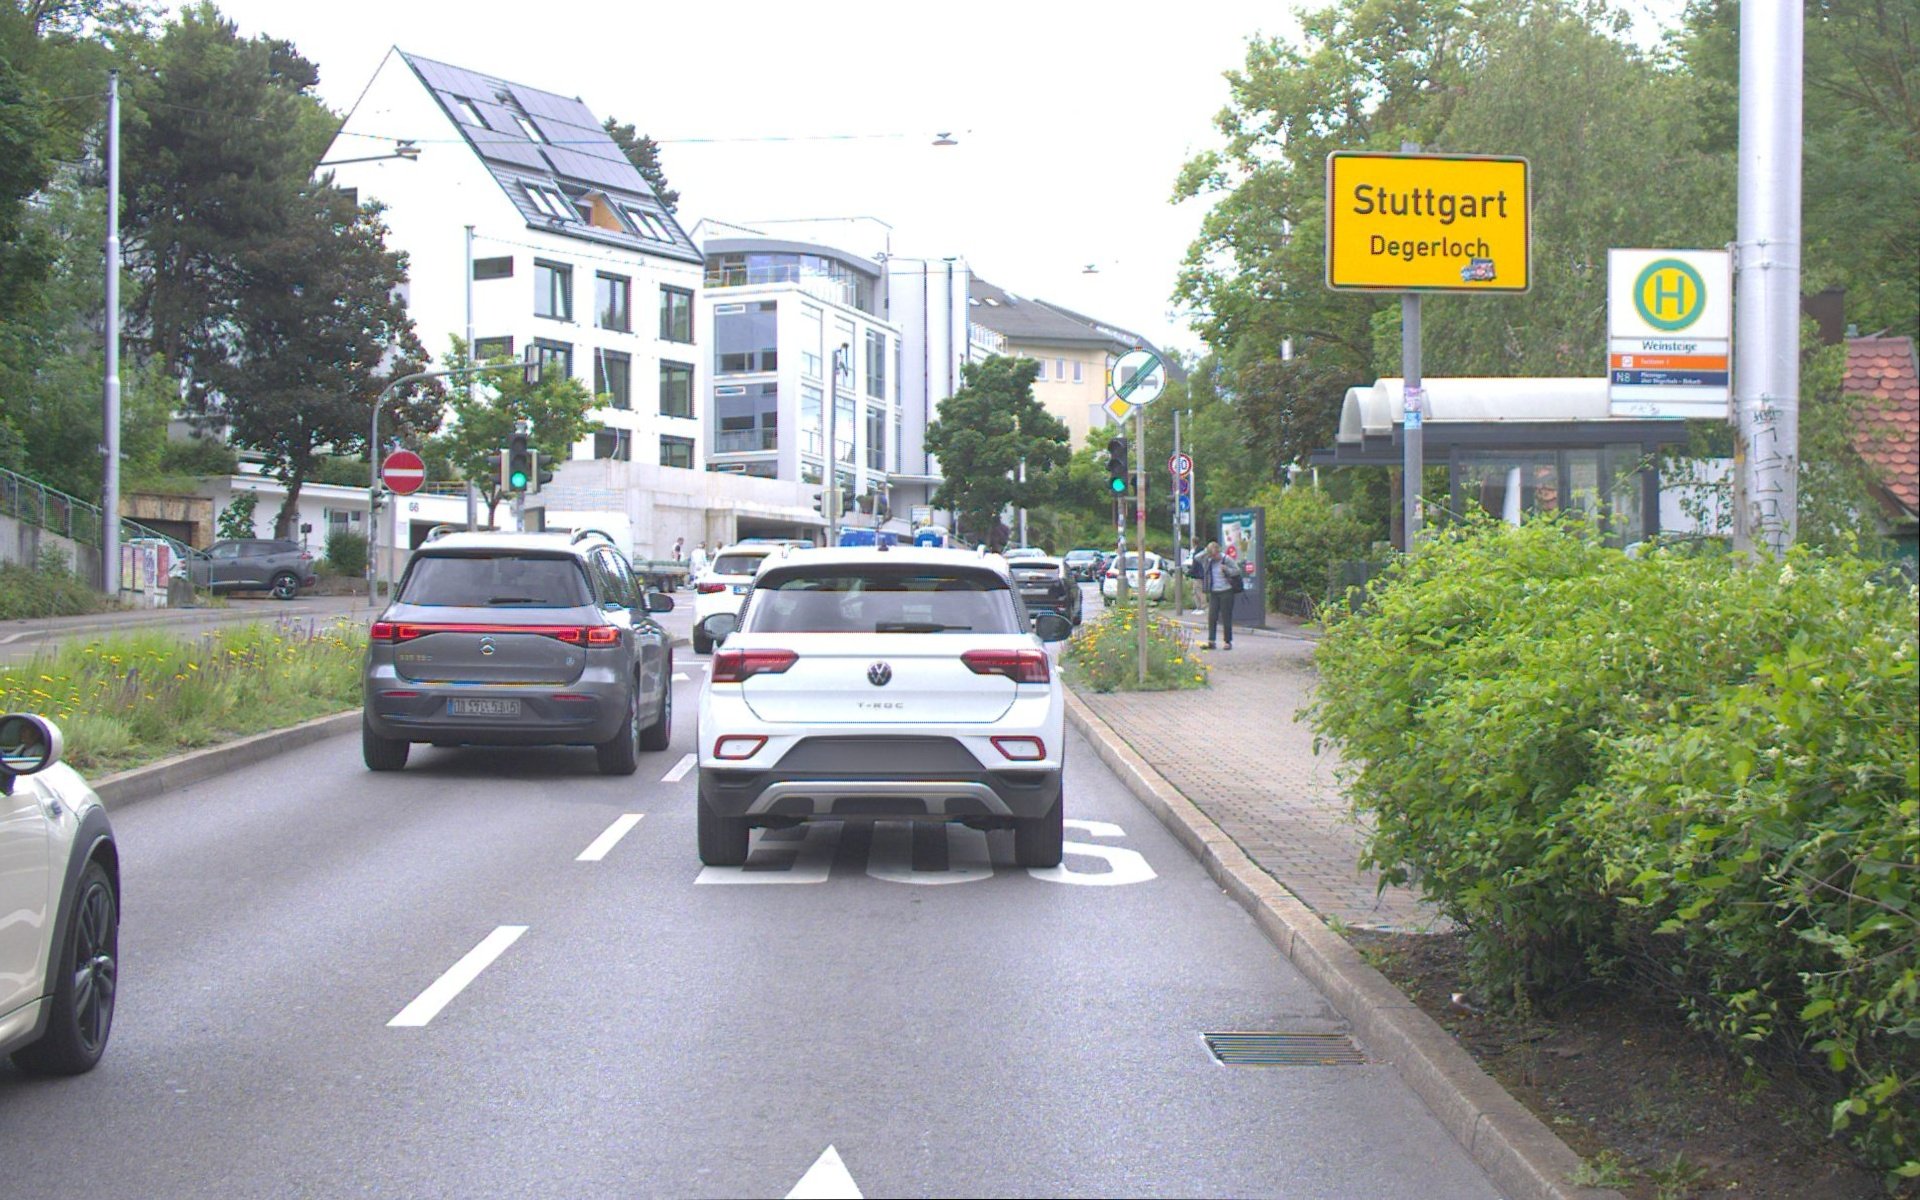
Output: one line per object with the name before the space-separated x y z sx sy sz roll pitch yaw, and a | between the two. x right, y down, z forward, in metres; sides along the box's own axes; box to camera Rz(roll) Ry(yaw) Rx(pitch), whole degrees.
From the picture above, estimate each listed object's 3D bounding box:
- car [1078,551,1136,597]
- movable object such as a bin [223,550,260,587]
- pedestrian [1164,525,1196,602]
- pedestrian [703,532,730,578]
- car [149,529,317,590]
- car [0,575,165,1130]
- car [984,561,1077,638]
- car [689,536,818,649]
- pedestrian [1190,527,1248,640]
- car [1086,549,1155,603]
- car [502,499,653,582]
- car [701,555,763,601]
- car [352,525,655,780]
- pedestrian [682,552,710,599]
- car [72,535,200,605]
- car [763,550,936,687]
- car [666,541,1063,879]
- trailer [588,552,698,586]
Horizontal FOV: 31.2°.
car | 4.940 -0.883 115.213 1.858 1.495 4.055 0 1 3
movable object such as a bin | -19.842 -0.864 94.965 0.640 1.008 0.729 2 1 36
pedestrian | 5.296 -0.876 82.749 0.693 1.827 0.620 2 1 7
pedestrian | -8.812 -1.616 124.384 0.674 1.634 0.672 1 1 -33
car | -18.569 -1.041 87.774 4.118 1.534 1.599 0 1 -14
car | -3.252 0.654 8.459 1.628 1.388 3.566 0 1 2
car | 1.502 -0.033 74.178 1.873 1.496 4.555 3 1 1
car | -3.135 -0.139 52.930 1.858 1.646 4.636 -1 1 -2
pedestrian | 3.914 -0.244 51.945 0.694 1.683 0.619 -1 0 21
car | 4.527 -0.706 97.604 1.858 1.495 4.055 0 1 1
car | -12.253 -1.910 110.660 2.233 2.559 7.417 0 1 15
car | -7.074 -0.700 107.202 1.717 1.388 4.609 0 1 -1
car | -3.185 0.308 24.775 1.812 1.646 4.637 -1 1 -3
pedestrian | -9.332 -0.871 121.508 0.674 1.634 0.672 1 1 -33
car | -19.927 -0.725 83.123 2.701 1.515 1.564 3 0 -24
car | -1.432 0.187 42.826 1.873 1.496 4.556 3 1 -4
car | -0.501 0.478 17.632 1.811 1.534 3.690 -1 1 -2
trailer | -10.712 -1.074 116.482 2.248 1.108 4.619 0 1 15
